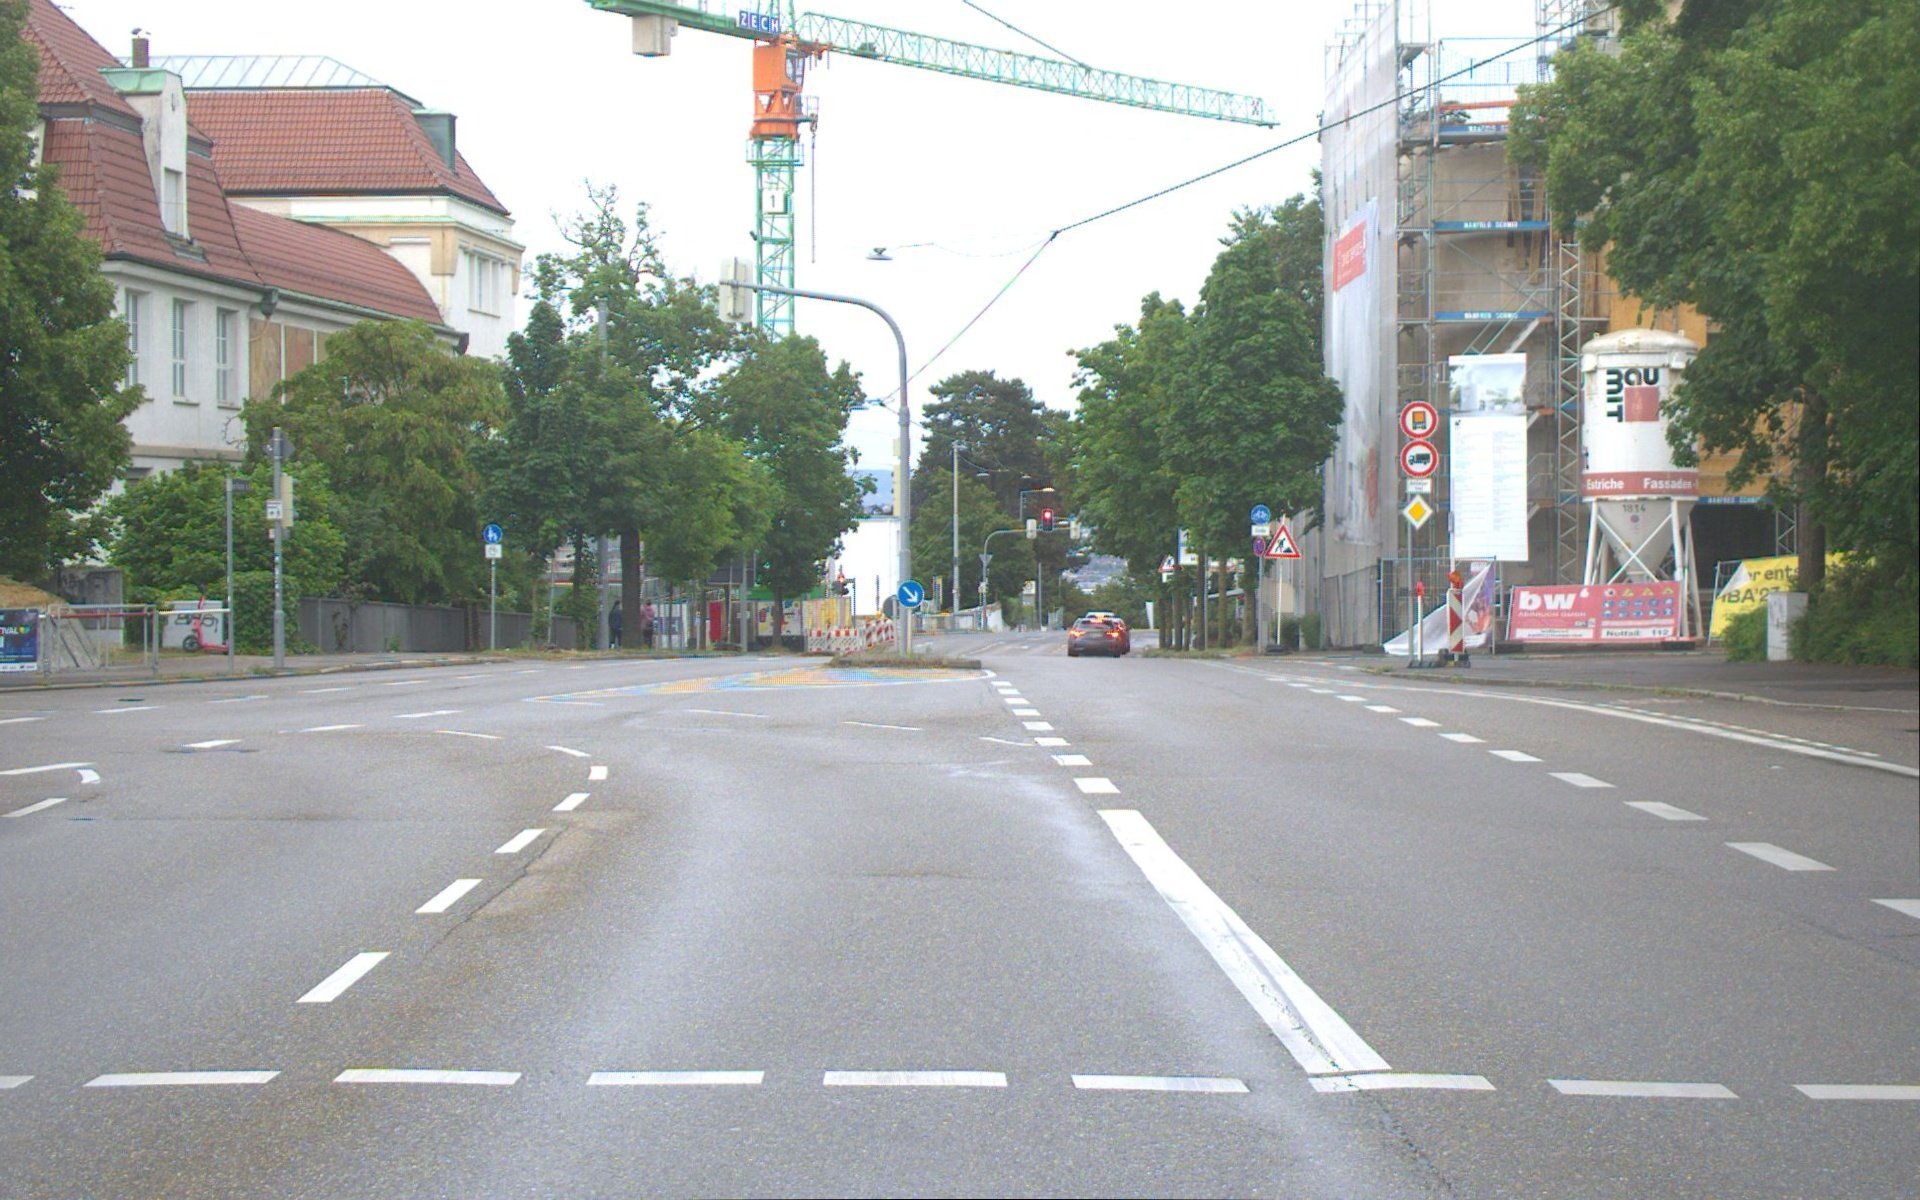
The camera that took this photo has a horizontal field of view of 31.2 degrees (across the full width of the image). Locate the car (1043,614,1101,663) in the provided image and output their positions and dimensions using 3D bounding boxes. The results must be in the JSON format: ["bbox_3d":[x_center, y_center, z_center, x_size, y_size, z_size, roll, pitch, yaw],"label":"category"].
[{"bbox_3d":[4.236,1.452,130.983,1.993,1.744,4.000,-1,1,-1],"label":"car"}]

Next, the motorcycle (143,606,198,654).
[{"bbox_3d":[-14.890,0.563,64.859,0.849,0.874,0.877,1,0,-1],"label":"motorcycle"}]

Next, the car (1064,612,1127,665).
[{"bbox_3d":[4.831,1.367,122.983,1.993,1.744,4.000,-1,1,-1],"label":"car"}]

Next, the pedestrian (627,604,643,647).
[{"bbox_3d":[-10.389,0.814,109.906,0.474,1.392,0.411,0,1,-1],"label":"pedestrian"}]

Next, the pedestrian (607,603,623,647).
[{"bbox_3d":[-11.030,0.809,109.942,0.474,1.392,0.411,0,1,-1],"label":"pedestrian"}]

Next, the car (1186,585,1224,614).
[{"bbox_3d":[15.649,-0.021,219.336,1.994,1.744,3.998,-1,1,11],"label":"car"}]
